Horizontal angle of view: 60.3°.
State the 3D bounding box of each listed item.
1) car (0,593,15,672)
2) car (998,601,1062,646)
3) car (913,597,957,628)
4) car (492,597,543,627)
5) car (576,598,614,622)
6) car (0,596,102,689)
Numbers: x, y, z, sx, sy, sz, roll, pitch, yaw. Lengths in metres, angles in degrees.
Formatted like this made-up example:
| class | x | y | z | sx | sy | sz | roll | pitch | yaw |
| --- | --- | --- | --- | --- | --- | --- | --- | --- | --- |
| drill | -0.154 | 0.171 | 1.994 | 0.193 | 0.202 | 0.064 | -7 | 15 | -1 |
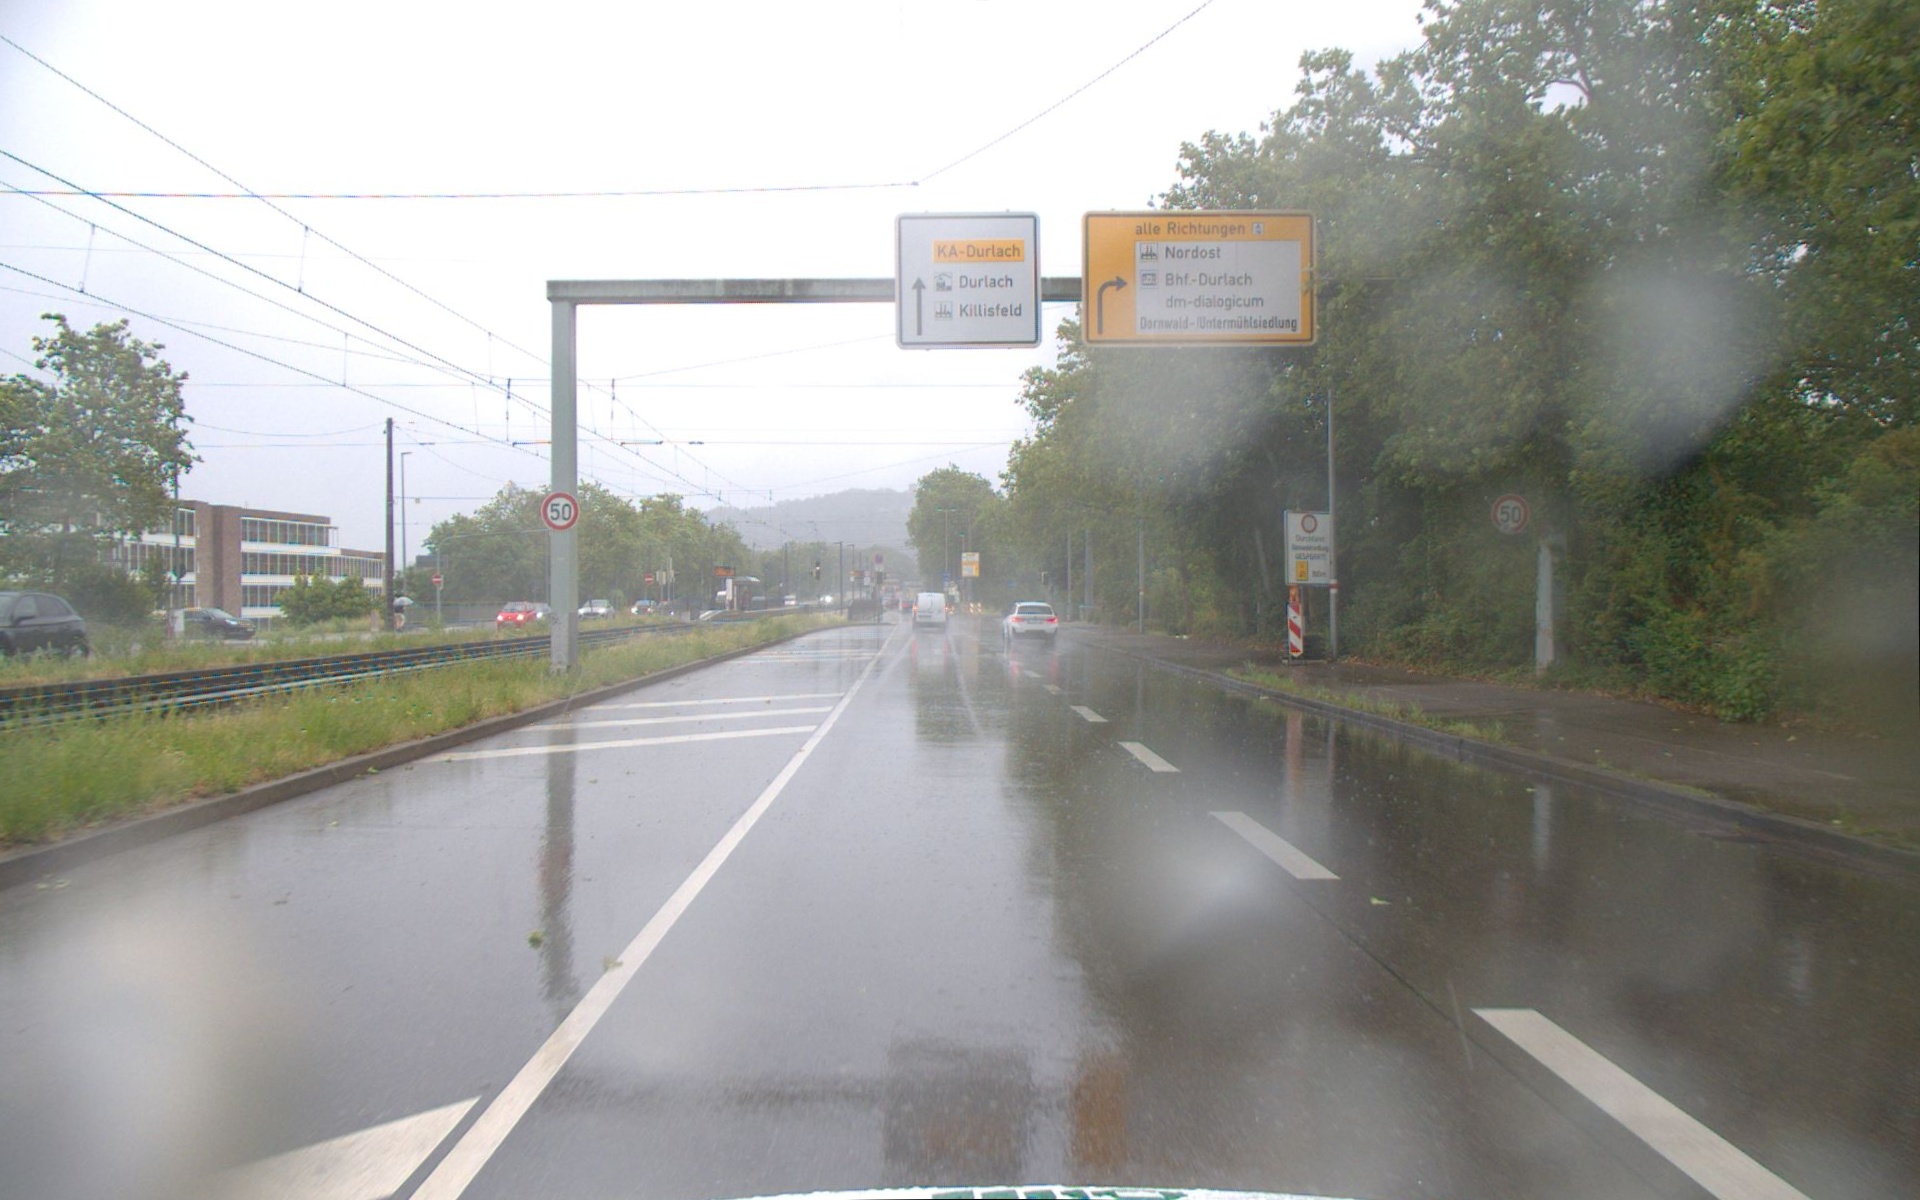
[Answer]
| class | x | y | z | sx | sy | sz | roll | pitch | yaw |
| --- | --- | --- | --- | --- | --- | --- | --- | --- | --- |
| car | -21.476 | 0.709 | 33.773 | 1.905 | 1.716 | 4.776 | 0 | 0 | -4 |
| car | 2.442 | 0.804 | 58.644 | 1.909 | 1.563 | 4.464 | 0 | 0 | -2 |
| car | -1.209 | 0.592 | 78.983 | 2.035 | 1.445 | 3.999 | 0 | 0 | -1 |
| car | -23.018 | 0.622 | 86.169 | 1.686 | 1.520 | 3.998 | 0 | 0 | -2 |
| car | -23.752 | 0.643 | 107.713 | 1.686 | 1.520 | 3.998 | 0 | 0 | -2 |
| car | -18.153 | 0.754 | 30.984 | 1.905 | 1.644 | 4.984 | 0 | 0 | -5 |
